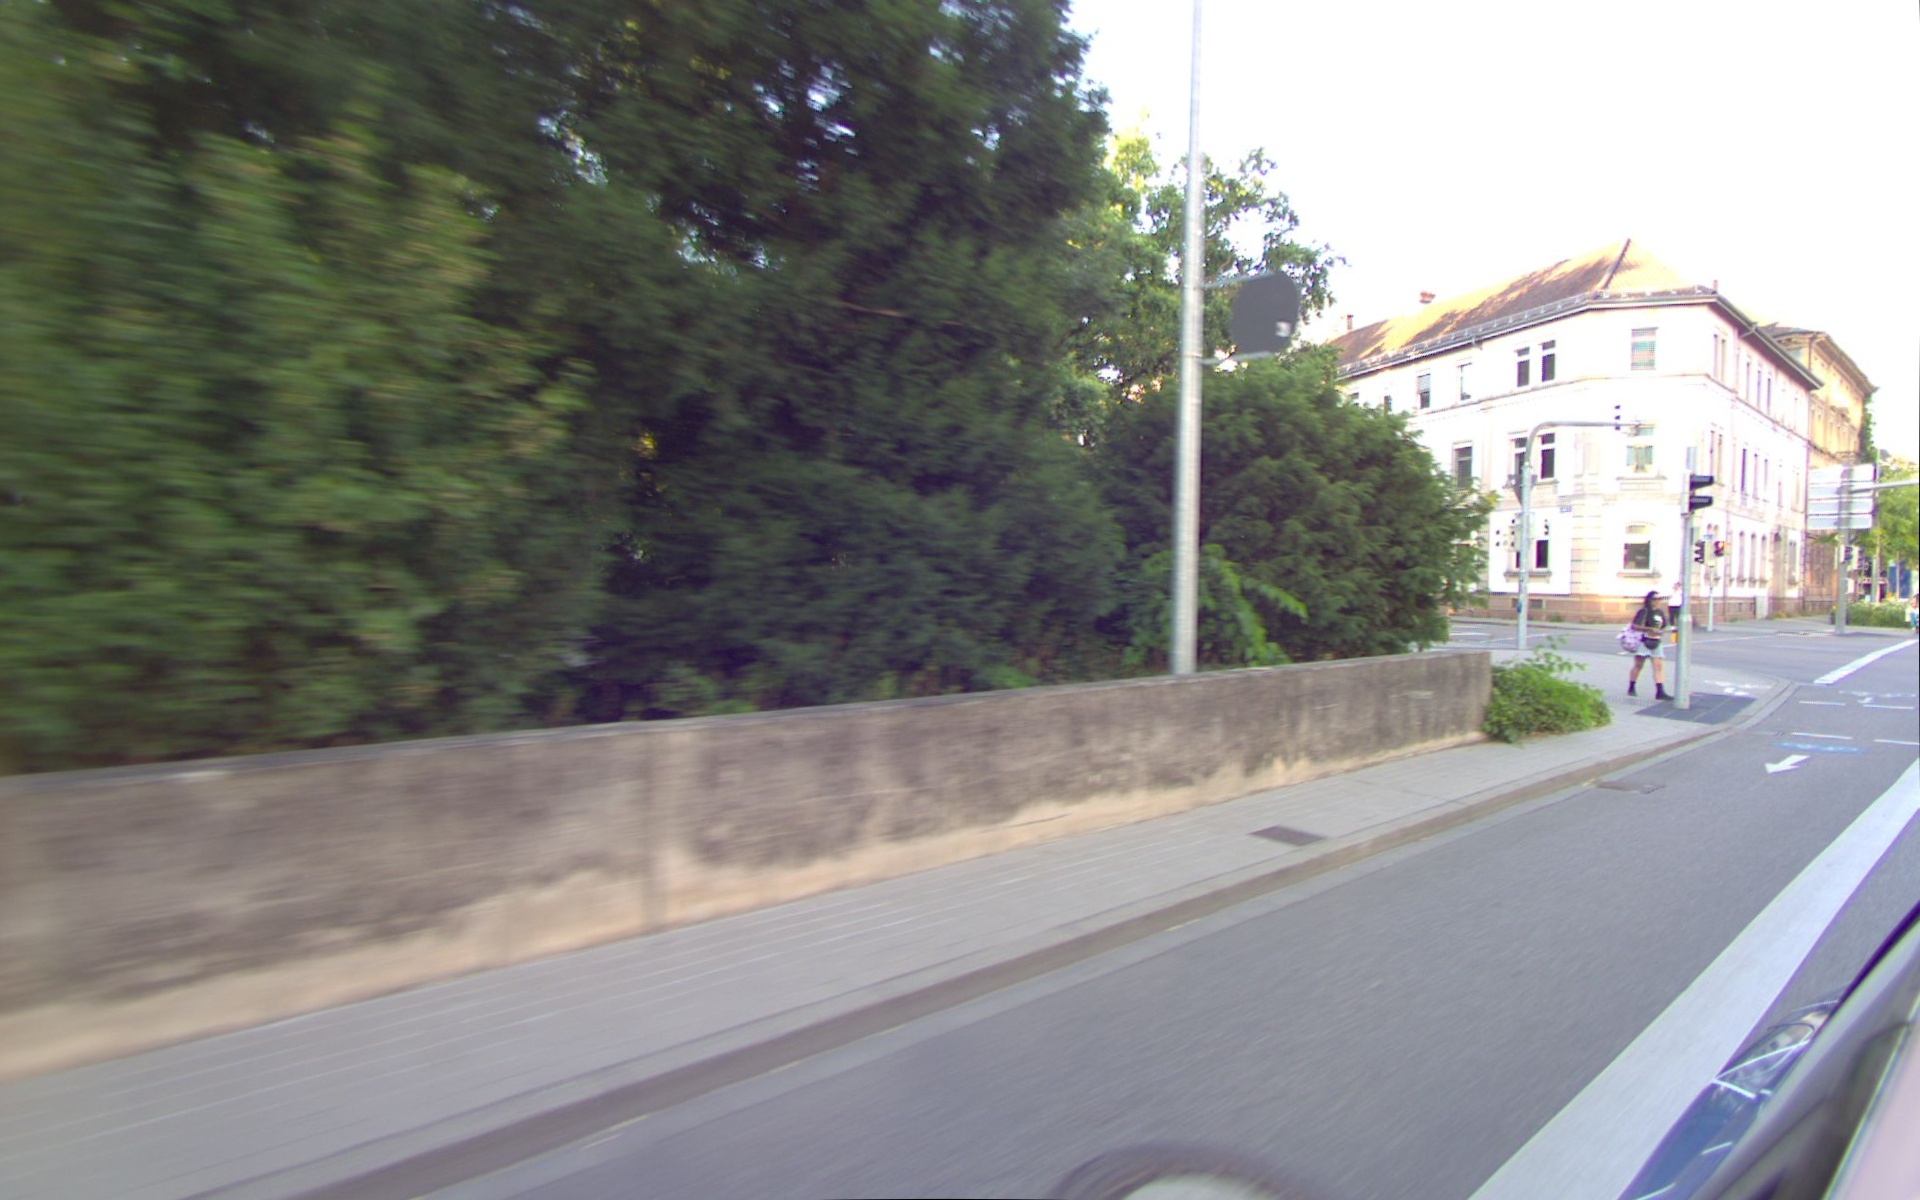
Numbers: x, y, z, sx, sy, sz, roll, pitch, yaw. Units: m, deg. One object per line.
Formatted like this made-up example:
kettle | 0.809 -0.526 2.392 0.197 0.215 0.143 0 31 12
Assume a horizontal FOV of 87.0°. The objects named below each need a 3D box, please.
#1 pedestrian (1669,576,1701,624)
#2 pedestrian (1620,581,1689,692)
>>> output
pedestrian | 25.660 0.000 35.847 0.811 1.677 0.630 2 1 29
pedestrian | 9.928 0.509 14.473 0.607 1.522 0.581 0 2 -35
